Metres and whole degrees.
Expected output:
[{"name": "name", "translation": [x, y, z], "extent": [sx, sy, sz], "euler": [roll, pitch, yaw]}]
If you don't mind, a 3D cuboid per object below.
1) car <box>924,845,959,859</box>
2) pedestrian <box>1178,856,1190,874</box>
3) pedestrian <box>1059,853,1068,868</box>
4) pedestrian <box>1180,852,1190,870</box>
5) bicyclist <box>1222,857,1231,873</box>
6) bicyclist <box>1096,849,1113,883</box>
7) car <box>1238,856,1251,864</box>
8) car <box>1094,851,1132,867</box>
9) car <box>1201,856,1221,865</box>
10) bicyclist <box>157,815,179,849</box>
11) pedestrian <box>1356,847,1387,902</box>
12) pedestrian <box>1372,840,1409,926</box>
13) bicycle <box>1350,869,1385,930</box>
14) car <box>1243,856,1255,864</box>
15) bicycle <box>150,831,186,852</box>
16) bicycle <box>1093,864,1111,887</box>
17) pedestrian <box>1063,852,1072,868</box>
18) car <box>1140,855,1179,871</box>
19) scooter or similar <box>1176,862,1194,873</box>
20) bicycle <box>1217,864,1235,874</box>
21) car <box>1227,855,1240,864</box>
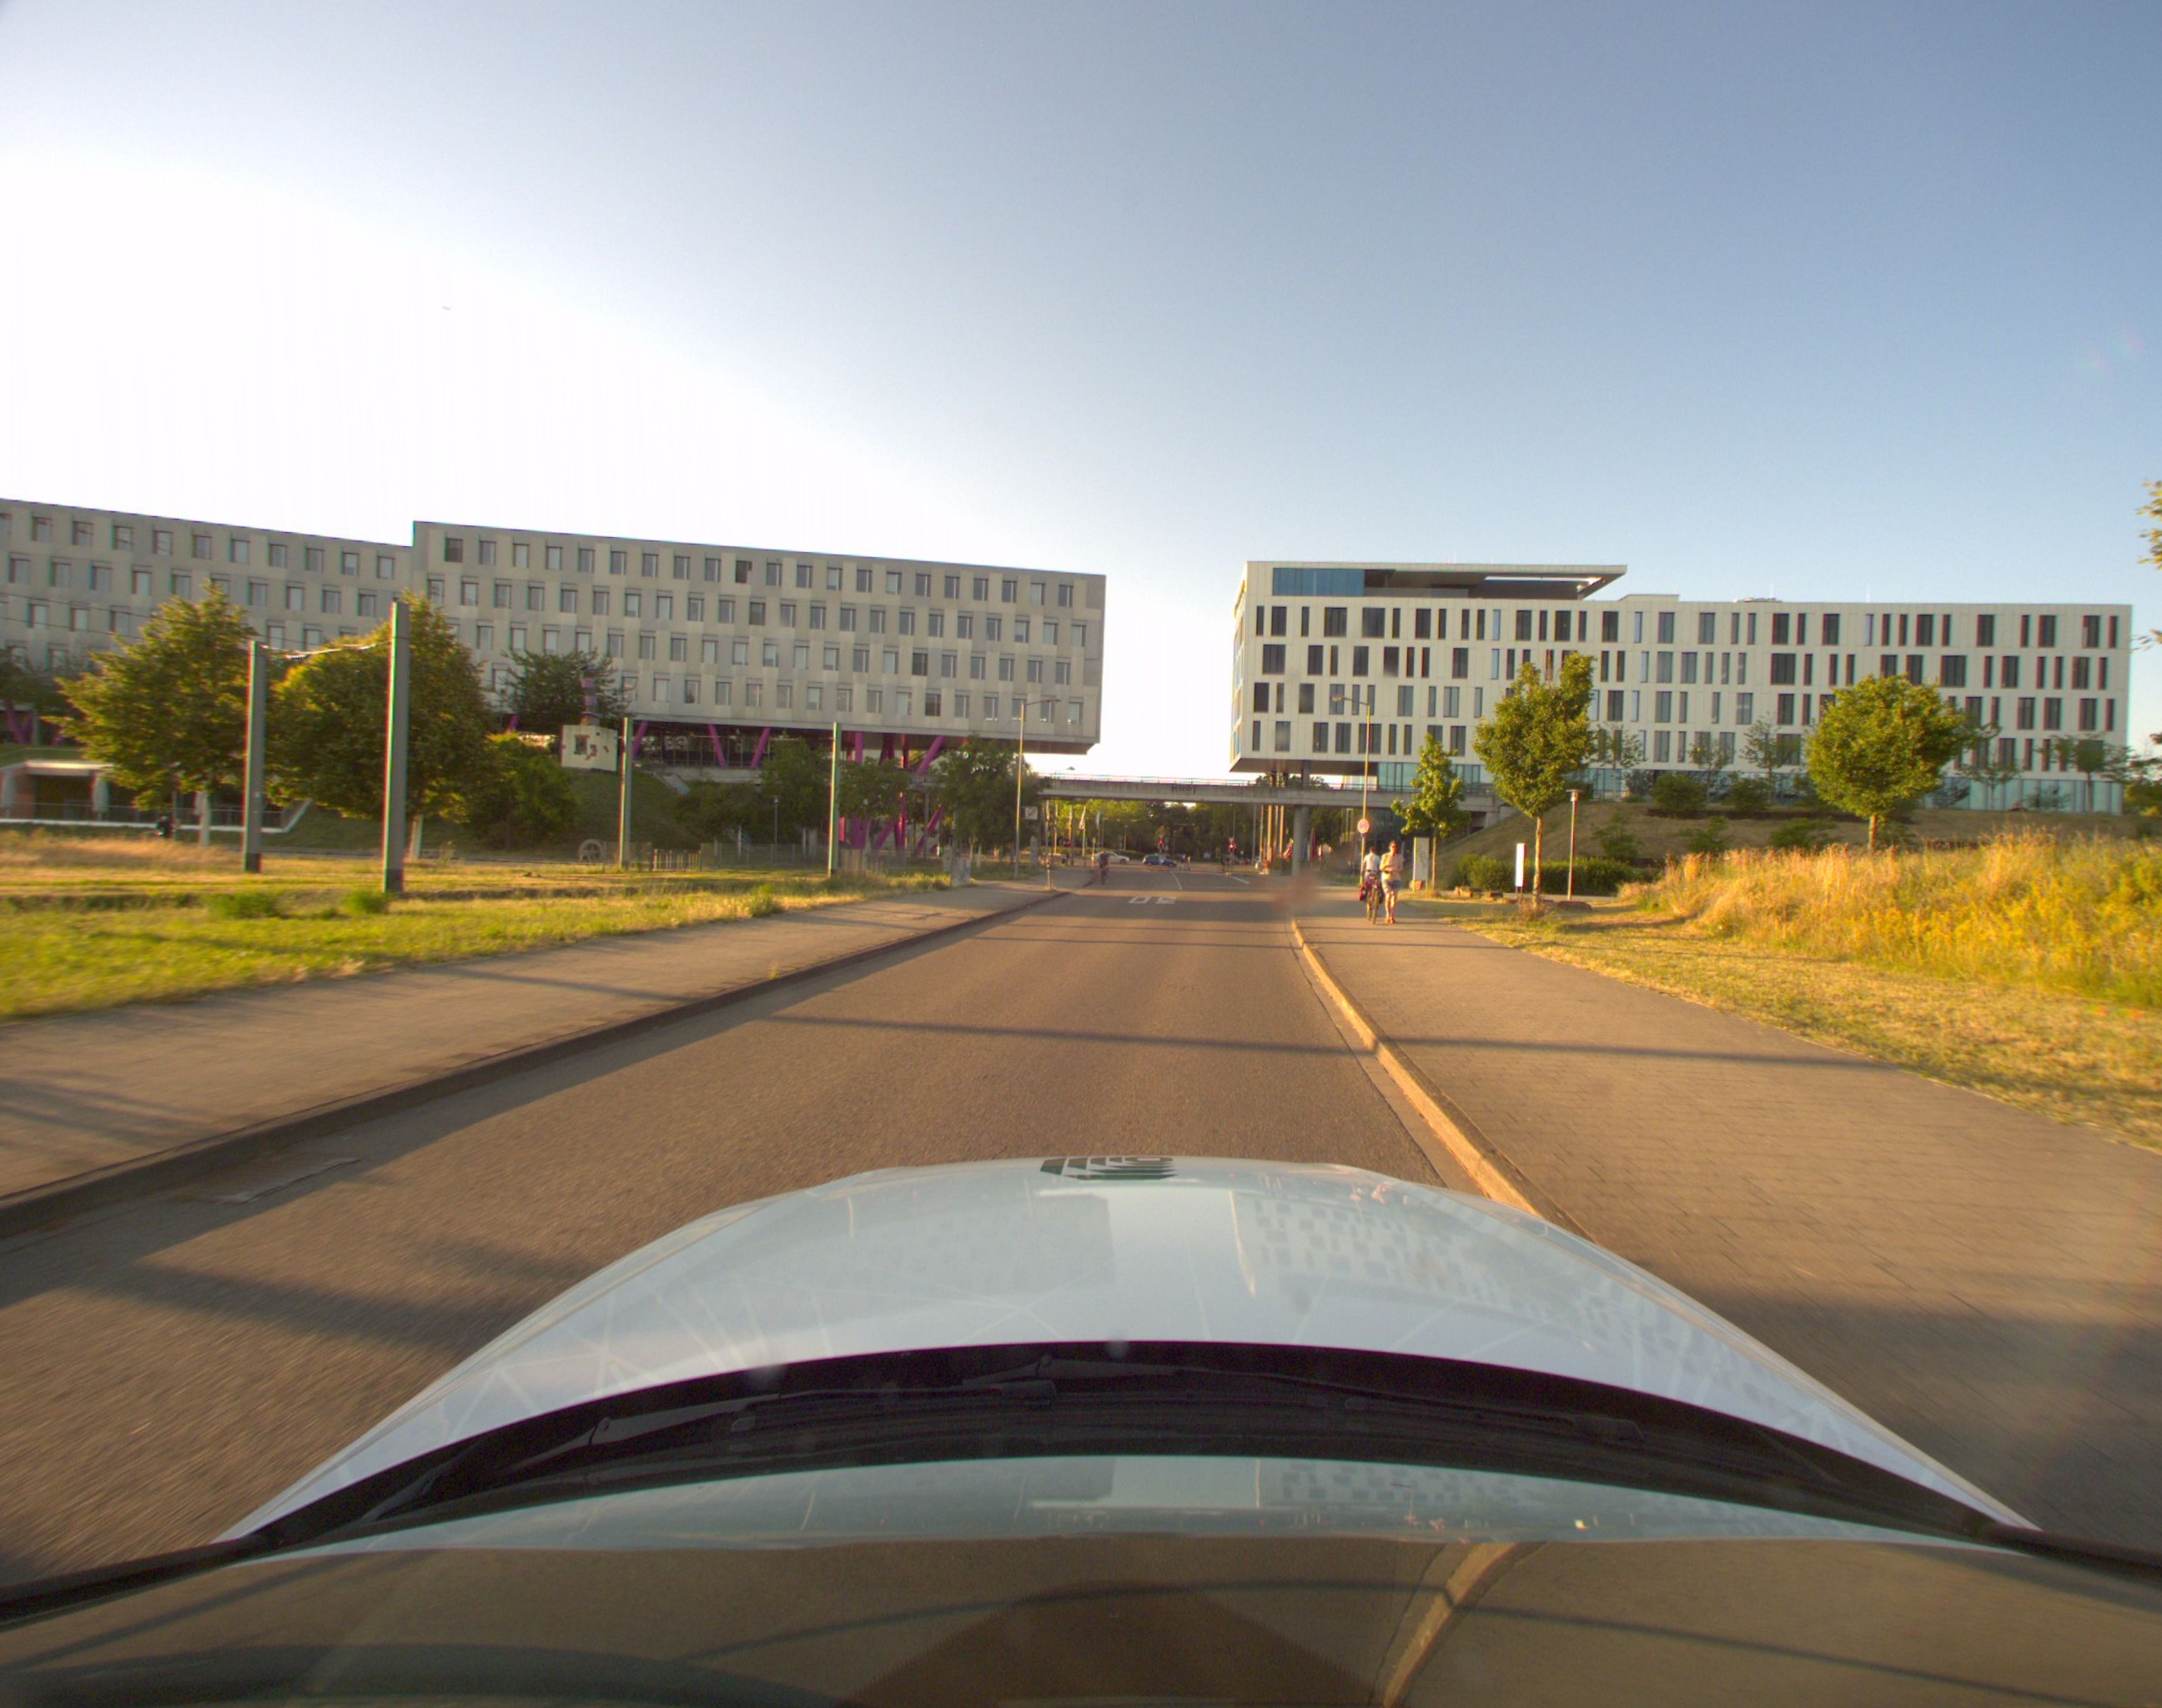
[{"name": "car", "translation": [-19.274, -0.296, 112.628], "extent": [4.446, 1.816, 1.948], "euler": [2, 1, 4]}, {"name": "pedestrian", "translation": [11.208, 1.181, 88.334], "extent": [1.053, 1.833, 0.893], "euler": [2, 1, -7]}, {"name": "pedestrian", "translation": [-1.891, 0.694, 89.510], "extent": [0.680, 1.624, 0.716], "euler": [2, 1, 23]}, {"name": "pedestrian", "translation": [11.562, 0.807, 90.822], "extent": [0.906, 1.990, 0.771], "euler": [2, 1, -2]}, {"name": "bicyclist", "translation": [16.194, 1.197, 90.563], "extent": [0.855, 1.731, 0.607], "euler": [2, 1, 10]}, {"name": "bicyclist", "translation": [1.201, 0.602, 41.504], "extent": [0.611, 1.662, 1.039], "euler": [2, 1, 11]}, {"name": "car", "translation": [34.921, 1.274, 173.696], "extent": [1.483, 1.606, 3.424], "euler": [3, 1, 33]}, {"name": "car", "translation": [4.191, 0.633, 105.800], "extent": [4.662, 1.828, 1.838], "euler": [2, 1, 7]}, {"name": "car", "translation": [31.457, 1.613, 197.540], "extent": [4.653, 1.869, 2.020], "euler": [2, 1, 12]}, {"name": "bicyclist", "translation": [-41.141, -0.976, 36.687], "extent": [0.509, 1.494, 0.425], "euler": [2, 1, 8]}, {"name": "pedestrian", "translation": [9.576, 0.665, 26.845], "extent": [0.825, 1.766, 0.821], "euler": [2, 1, 13]}, {"name": "pedestrian", "translation": [6.730, 0.616, 17.722], "extent": [0.590, 1.801, 0.821], "euler": [2, 1, 13]}, {"name": "bicycle", "translation": [6.224, 0.959, 17.754], "extent": [0.447, 1.168, 1.948], "euler": [2, 1, 12]}, {"name": "car", "translation": [36.558, 1.237, 176.958], "extent": [1.483, 1.606, 3.424], "euler": [3, 1, 33]}, {"name": "bicycle", "translation": [-41.142, -0.565, 36.696], "extent": [1.225, 0.900, 0.432], "euler": [2, 1, 7]}, {"name": "bicycle", "translation": [1.067, 1.090, 41.495], "extent": [0.535, 1.043, 1.931], "euler": [2, 1, 11]}, {"name": "pedestrian", "translation": [-1.542, 0.667, 90.192], "extent": [0.694, 1.664, 0.716], "euler": [2, 1, 23]}, {"name": "car", "translation": [9.846, 1.118, 102.453], "extent": [4.703, 1.828, 1.891], "euler": [2, 1, -3]}, {"name": "scooter or similar", "translation": [11.601, 1.466, 90.826], "extent": [1.855, 1.174, 0.763], "euler": [2, 1, -2]}, {"name": "bicycle", "translation": [16.165, 1.673, 90.579], "extent": [1.958, 1.092, 0.624], "euler": [2, 1, 10]}, {"name": "car", "translation": [31.915, 1.189, 169.953], "extent": [1.483, 1.760, 3.424], "euler": [3, 1, 33]}]
